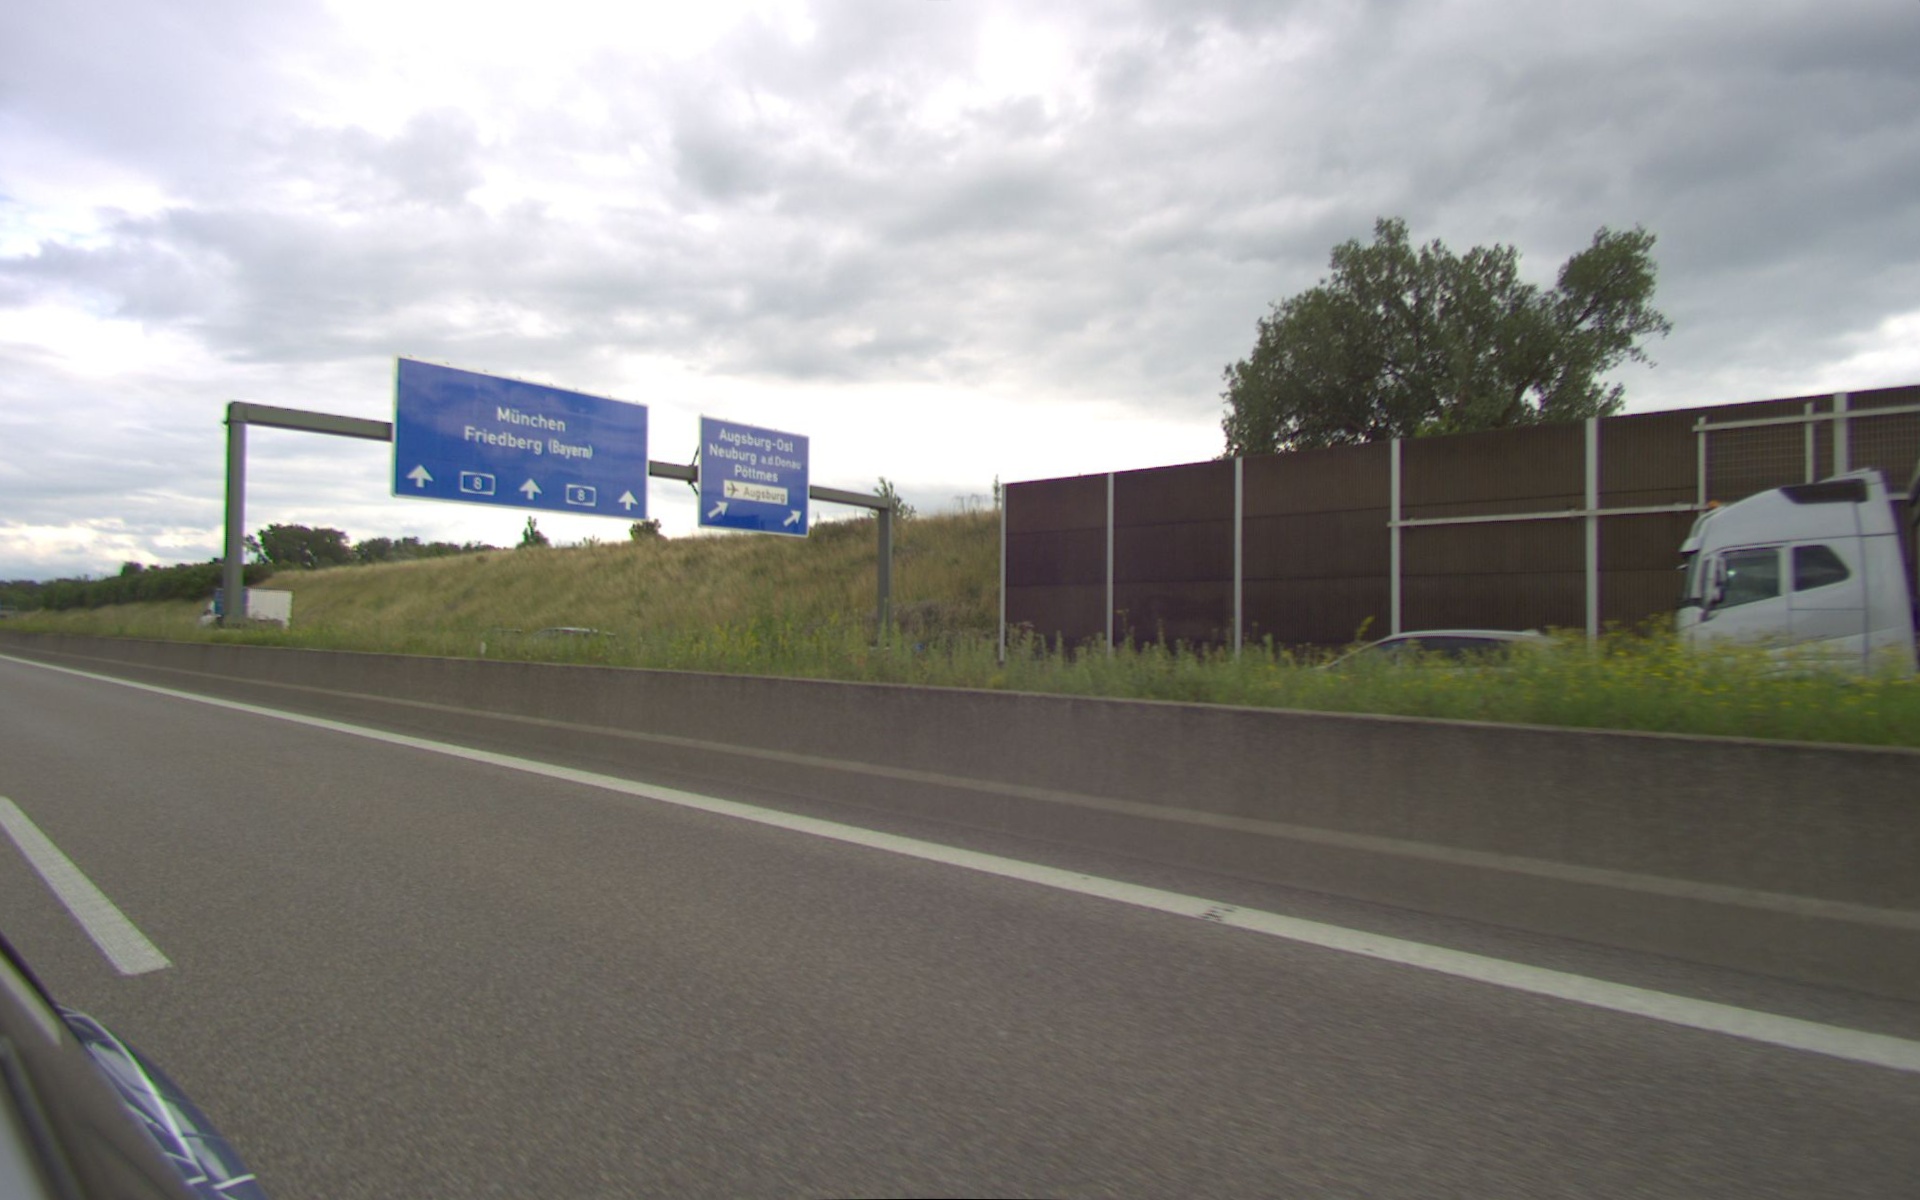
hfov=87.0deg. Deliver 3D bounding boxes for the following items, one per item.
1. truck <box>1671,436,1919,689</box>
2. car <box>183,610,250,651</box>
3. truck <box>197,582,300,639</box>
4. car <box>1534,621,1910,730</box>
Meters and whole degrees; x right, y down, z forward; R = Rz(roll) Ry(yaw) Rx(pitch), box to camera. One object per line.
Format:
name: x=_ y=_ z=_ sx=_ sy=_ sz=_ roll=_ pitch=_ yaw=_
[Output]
truck: x=13.516 y=-0.469 z=13.790 sx=5.978 sy=3.252 sz=2.795 roll=-1 pitch=-2 yaw=41
car: x=-33.652 y=1.350 z=45.769 sx=3.705 sy=1.708 sz=1.695 roll=-1 pitch=0 yaw=41
truck: x=-48.833 y=0.812 z=69.252 sx=10.929 sy=3.630 sz=3.225 roll=-1 pitch=-2 yaw=41
car: x=9.033 y=0.812 z=12.199 sx=3.429 sy=1.066 sz=1.662 roll=-1 pitch=0 yaw=41
